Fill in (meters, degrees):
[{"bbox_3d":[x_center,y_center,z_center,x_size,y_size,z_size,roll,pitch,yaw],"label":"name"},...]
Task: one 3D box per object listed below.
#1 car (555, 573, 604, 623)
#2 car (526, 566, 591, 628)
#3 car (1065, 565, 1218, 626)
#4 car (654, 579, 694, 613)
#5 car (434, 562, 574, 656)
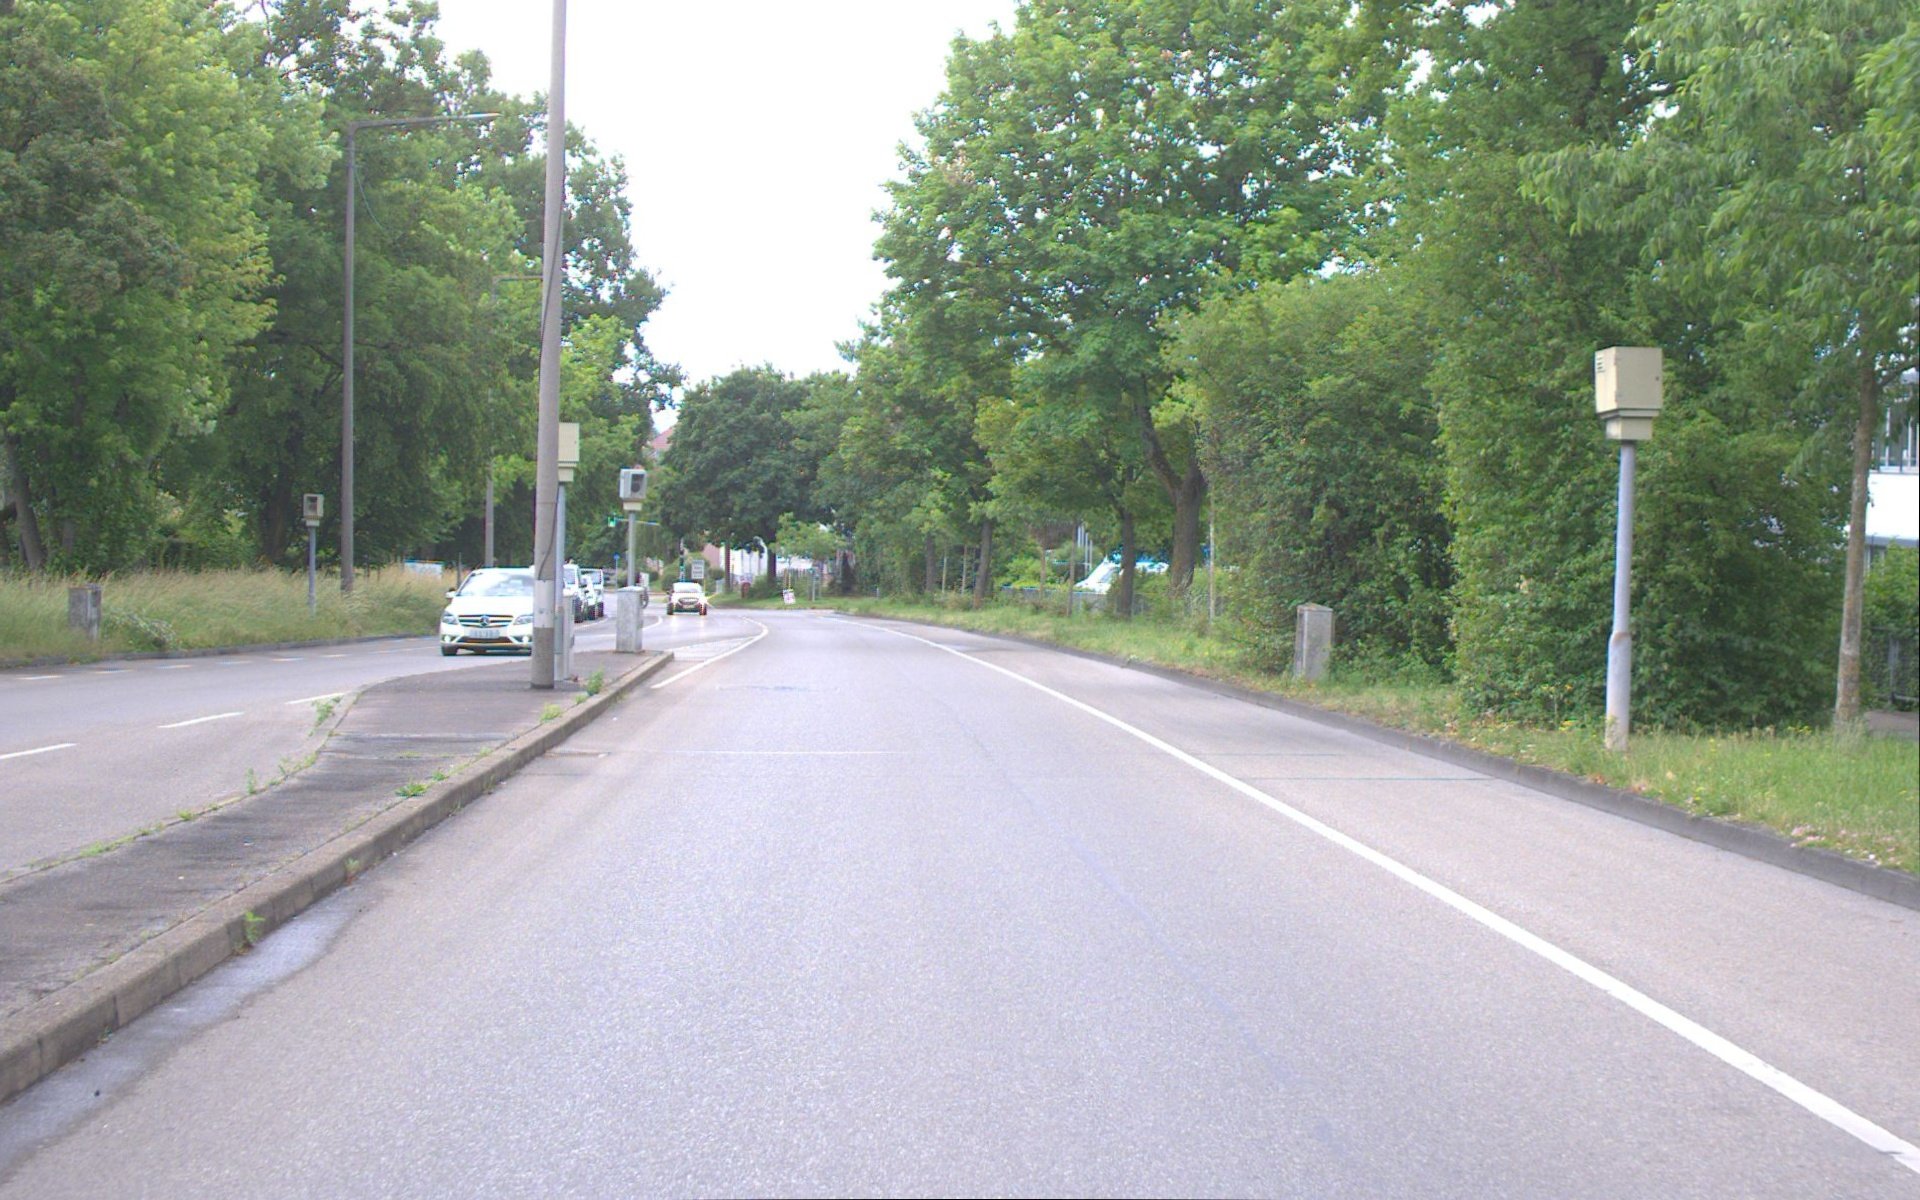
[{"bbox_3d":[-15.313,-0.091,138.557,1.866,1.957,5.127,1,0,-5],"label":"car"},{"bbox_3d":[-13.155,-0.108,112.794,1.767,1.924,5.156,1,0,-3],"label":"car"},{"bbox_3d":[7.636,-0.184,144.328,6.009,2.359,2.362,2,0,-28],"label":"car"},{"bbox_3d":[-12.910,-0.172,155.171,1.637,1.462,4.000,0,0,-3],"label":"car"},{"bbox_3d":[-8.016,0.185,60.770,1.875,1.565,4.339,1,-1,0],"label":"car"}]
